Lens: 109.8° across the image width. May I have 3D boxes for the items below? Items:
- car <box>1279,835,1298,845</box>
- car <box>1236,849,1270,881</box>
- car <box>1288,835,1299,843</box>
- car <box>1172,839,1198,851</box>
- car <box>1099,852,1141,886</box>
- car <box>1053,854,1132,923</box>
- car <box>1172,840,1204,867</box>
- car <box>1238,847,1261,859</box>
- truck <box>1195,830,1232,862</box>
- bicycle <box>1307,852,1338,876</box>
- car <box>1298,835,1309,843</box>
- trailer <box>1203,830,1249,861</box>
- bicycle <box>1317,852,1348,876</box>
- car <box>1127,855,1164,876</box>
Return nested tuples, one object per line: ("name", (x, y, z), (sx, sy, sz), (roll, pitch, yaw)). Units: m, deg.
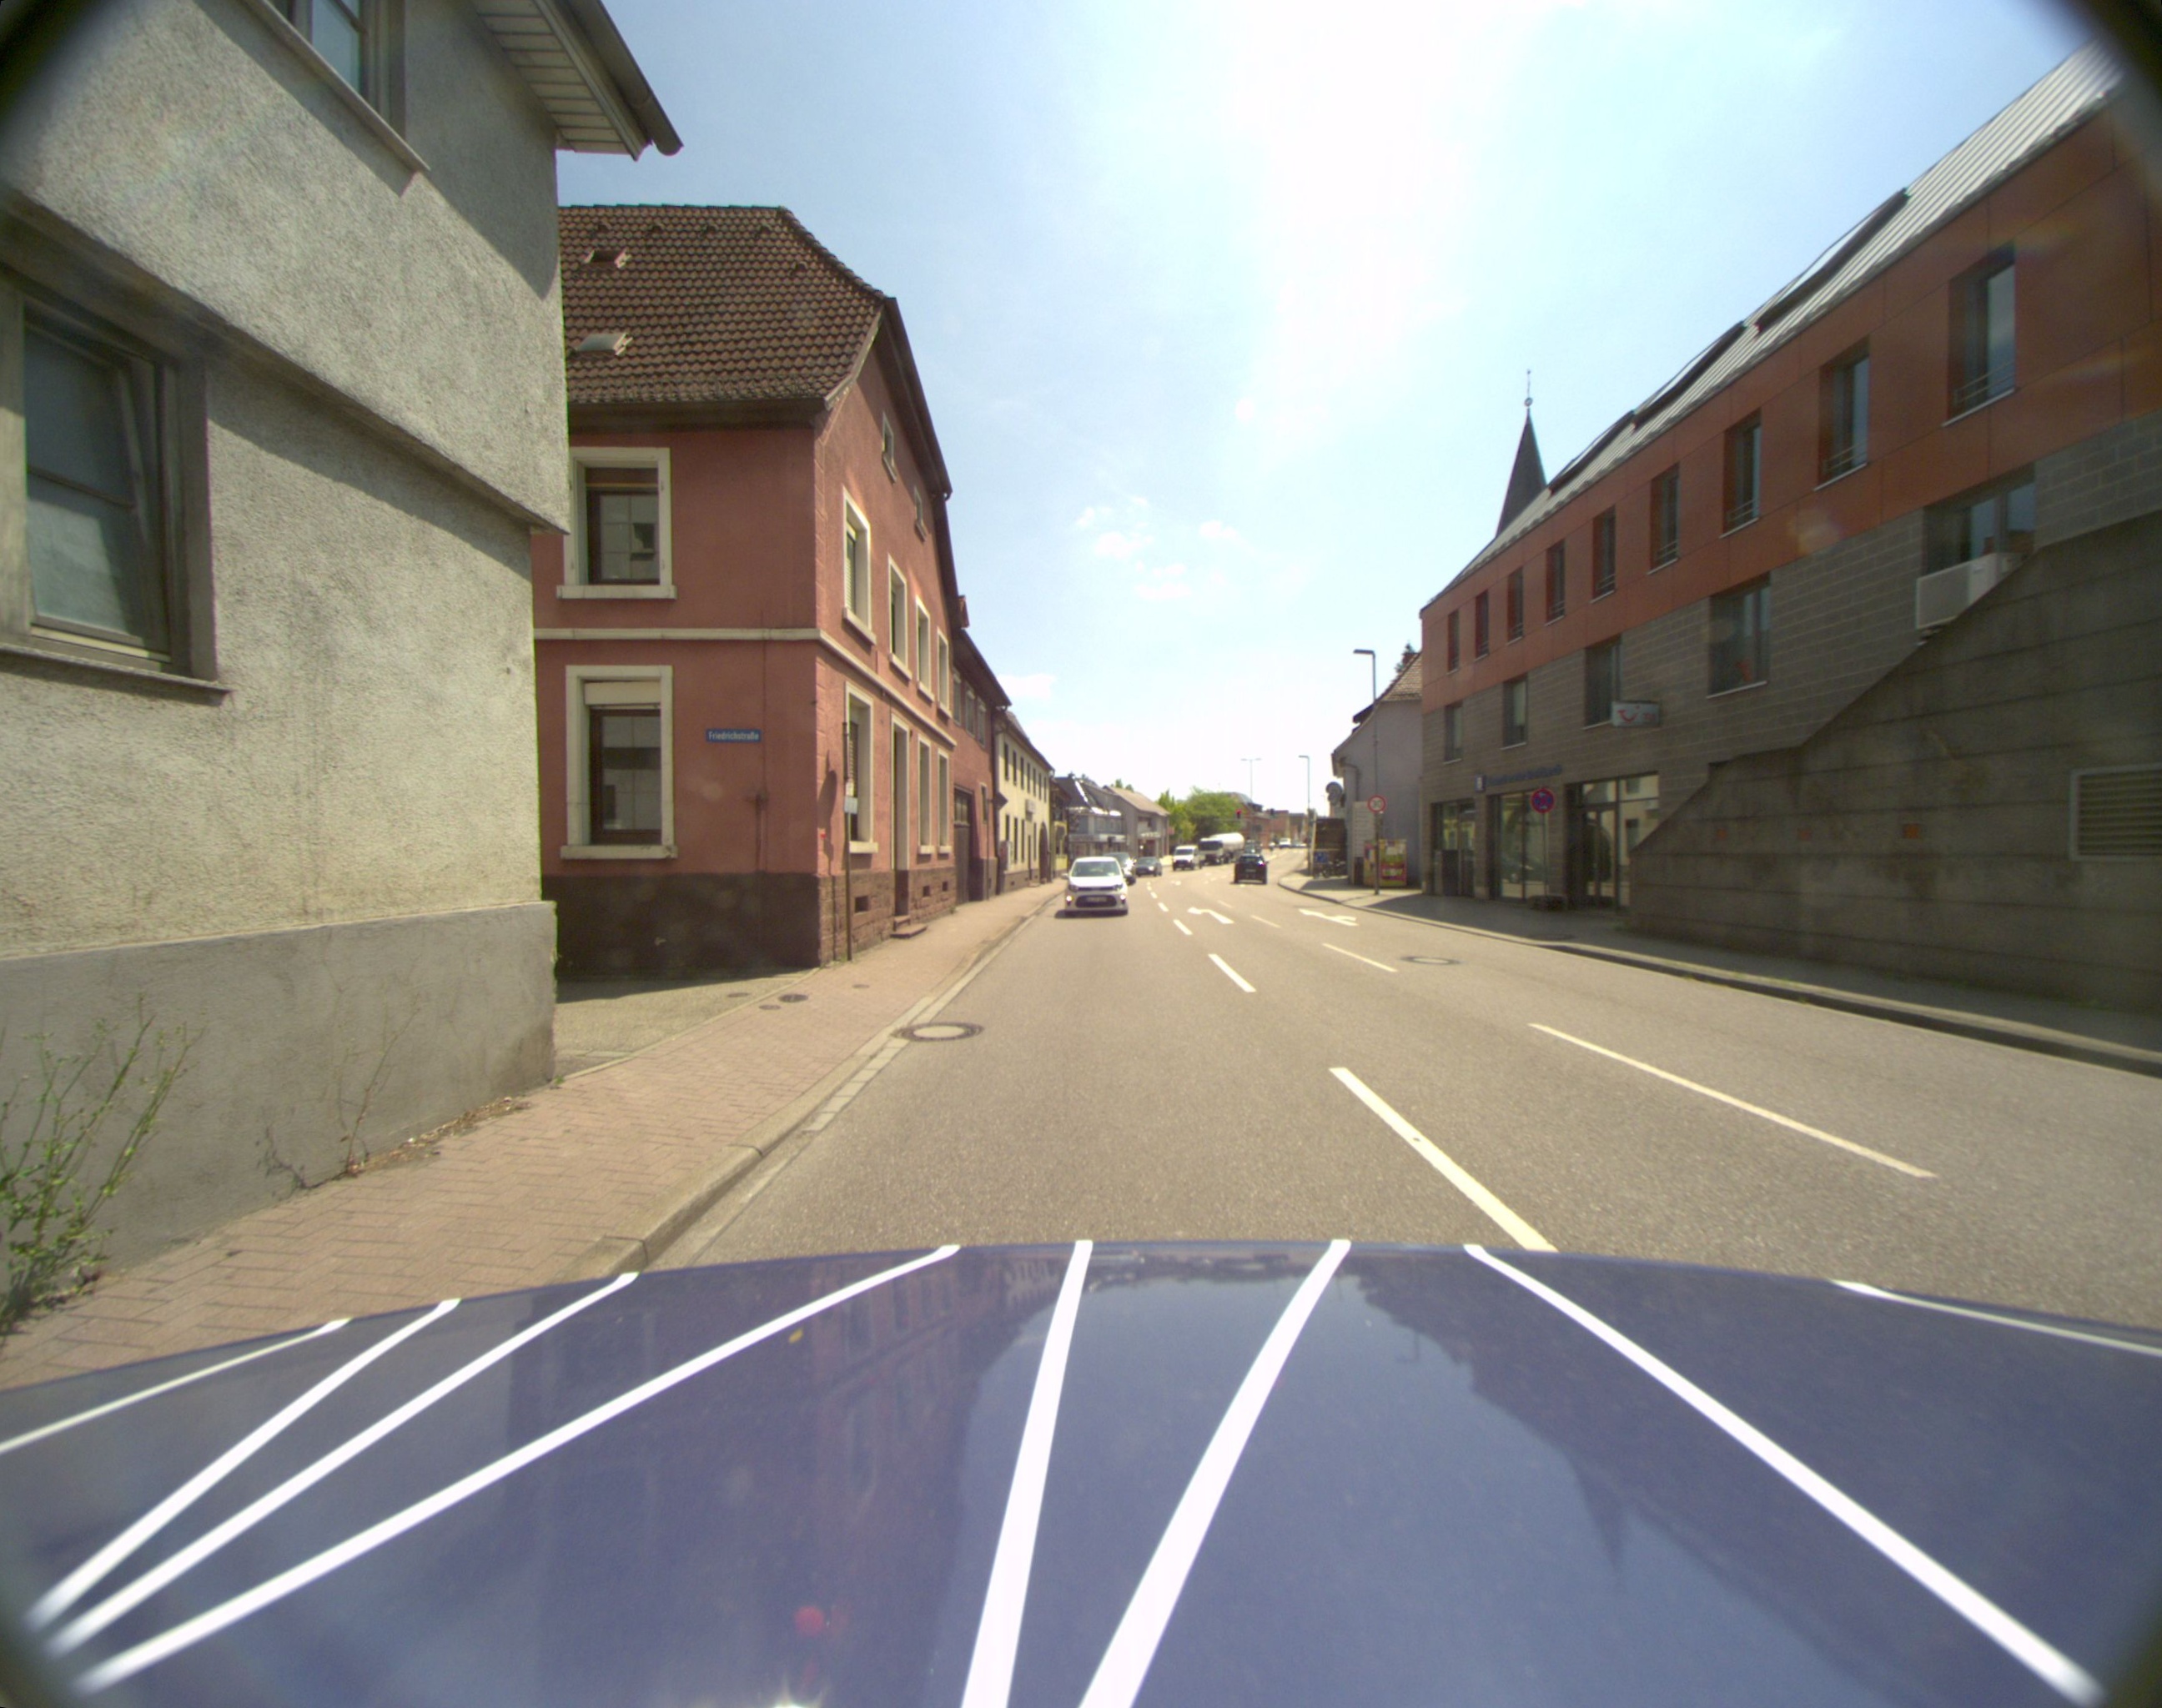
("car", (36.437, -2.440, 133.486), (2.007, 1.621, 4.586), (0, 1, 32))
("car", (9.306, 0.559, 41.091), (1.672, 1.648, 4.021), (-1, 1, 13))
("car", (43.946, -3.079, 156.892), (2.009, 1.621, 4.584), (-1, 1, 19))
("car", (16.360, -1.434, 119.142), (3.755, 1.701, 1.727), (-2, 1, 17))
("car", (2.043, 0.715, 38.968), (1.723, 1.541, 4.305), (-2, 0, 8))
("car", (0.410, 0.823, 20.111), (1.724, 1.541, 4.304), (-2, 0, 5))
("car", (10.459, -0.066, 73.806), (2.172, 2.549, 4.831), (-1, 1, 20))
("car", (23.345, -0.161, 104.883), (2.008, 1.621, 4.586), (0, 1, 27))
("truck", (15.071, -0.887, 86.404), (2.843, 3.549, 5.477), (0, 1, 24))
("bicycle", (13.683, 0.552, 43.112), (1.834, 1.241, 0.577), (-3, -1, -34))
("car", (50.782, -3.375, 173.430), (2.008, 1.621, 4.584), (-1, 1, 20))
("trailer", (17.793, -1.020, 92.409), (2.833, 3.549, 10.983), (0, 1, 25))
("bicycle", (14.102, 0.542, 42.613), (1.834, 1.241, 0.577), (-3, -1, -34))
("car", (4.697, 0.823, 54.934), (1.927, 1.358, 4.307), (-2, 0, 14))
